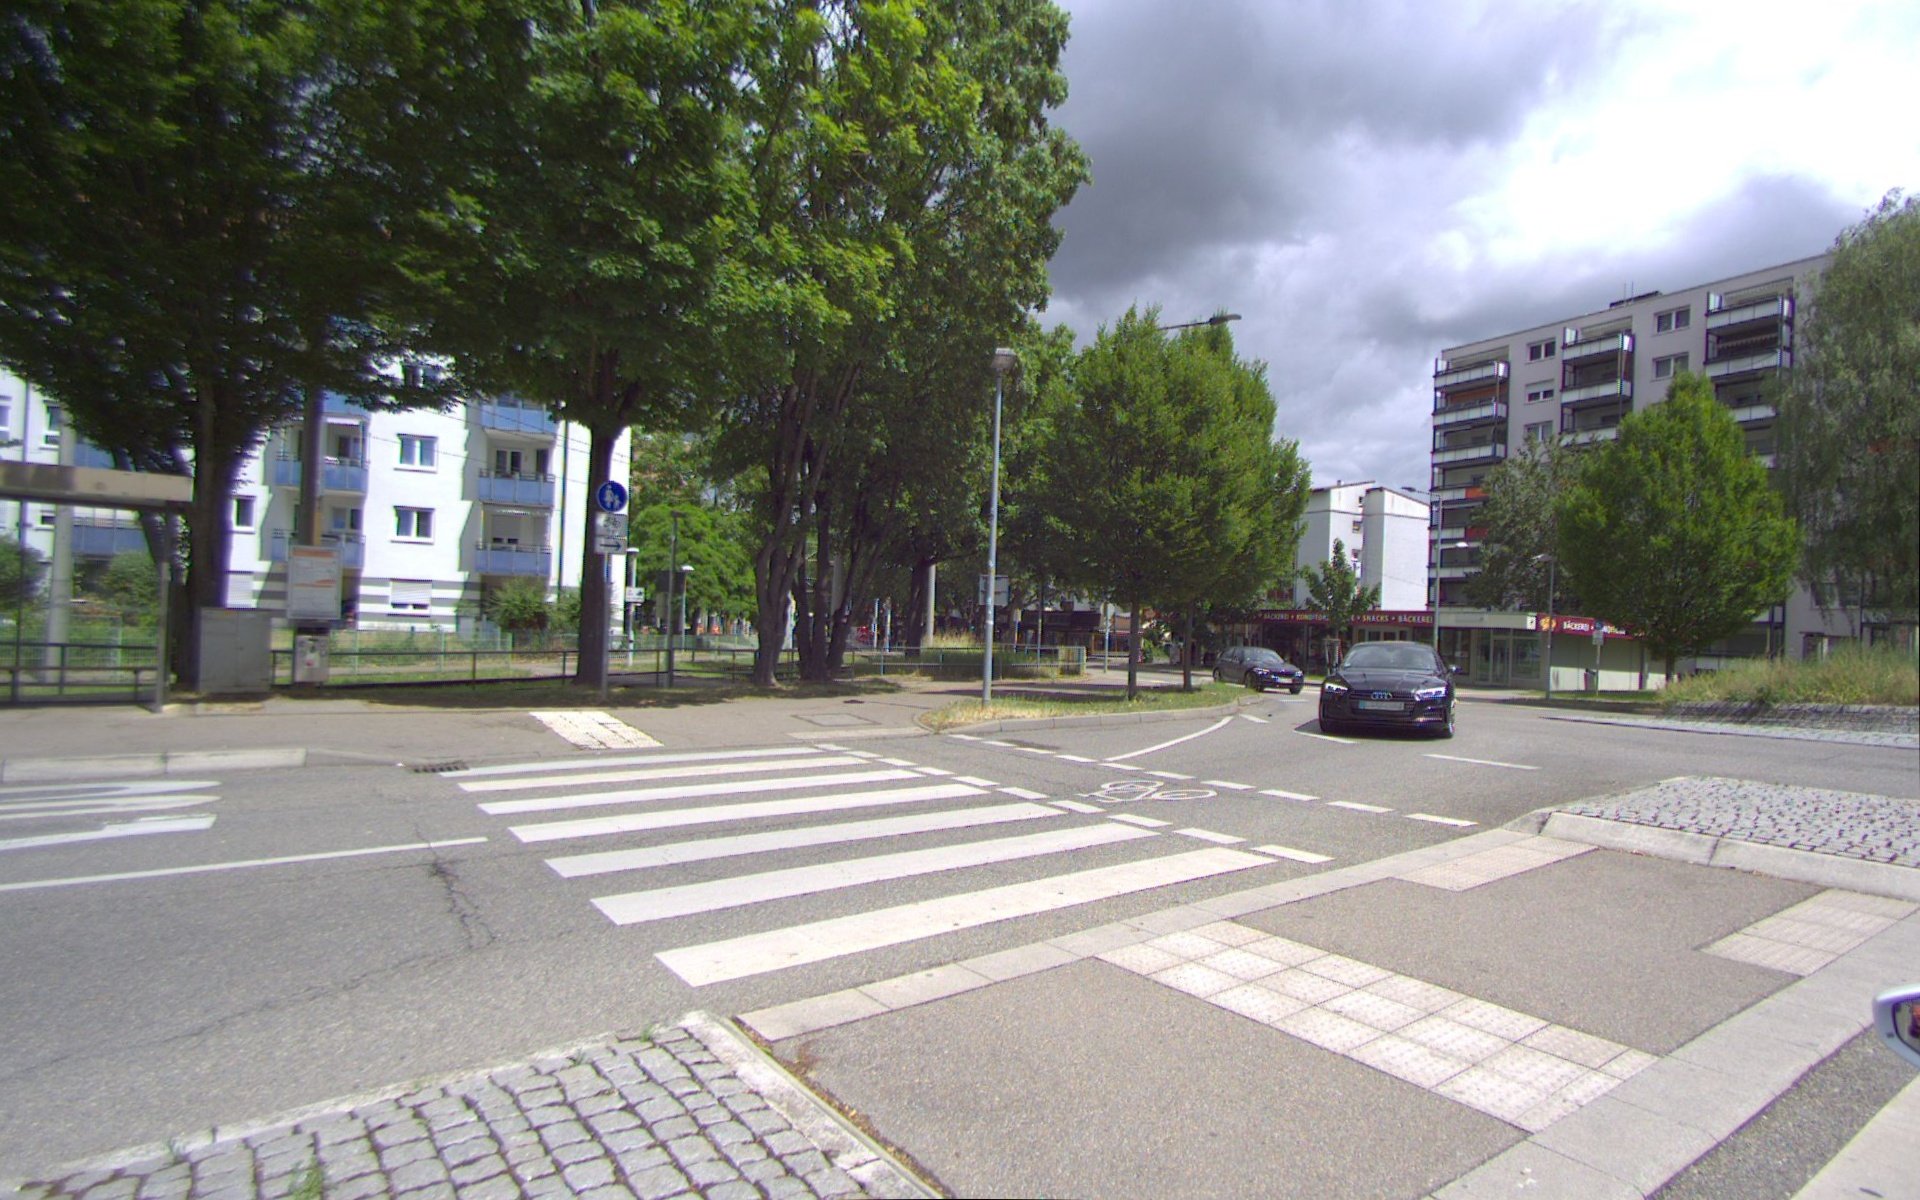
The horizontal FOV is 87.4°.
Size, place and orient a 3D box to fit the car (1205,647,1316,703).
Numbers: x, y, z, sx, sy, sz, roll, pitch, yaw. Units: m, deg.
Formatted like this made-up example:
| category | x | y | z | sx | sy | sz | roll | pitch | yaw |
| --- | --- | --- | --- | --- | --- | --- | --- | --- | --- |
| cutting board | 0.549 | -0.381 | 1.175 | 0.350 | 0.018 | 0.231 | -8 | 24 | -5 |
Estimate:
| category | x | y | z | sx | sy | sz | roll | pitch | yaw |
| --- | --- | --- | --- | --- | --- | --- | --- | --- | --- |
| car | 9.888 | 2.448 | 33.405 | 1.825 | 1.474 | 4.382 | 3 | 0 | -8 |

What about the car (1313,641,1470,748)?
| category | x | y | z | sx | sy | sz | roll | pitch | yaw |
| --- | --- | --- | --- | --- | --- | --- | --- | --- | --- |
| car | 7.078 | 1.417 | 16.186 | 1.791 | 1.402 | 4.610 | 1 | -2 | 30 |

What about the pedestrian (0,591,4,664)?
| category | x | y | z | sx | sy | sz | roll | pitch | yaw |
| --- | --- | --- | --- | --- | --- | --- | --- | --- | --- |
| pedestrian | -10.356 | 0.463 | 10.102 | 0.902 | 1.150 | 0.793 | 3 | -1 | -34 |

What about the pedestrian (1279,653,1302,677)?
| category | x | y | z | sx | sy | sz | roll | pitch | yaw |
| --- | --- | --- | --- | --- | --- | --- | --- | --- | --- |
| pedestrian | 19.104 | 3.750 | 58.100 | 0.870 | 1.342 | 0.816 | 3 | 0 | -28 |

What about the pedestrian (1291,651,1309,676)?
| category | x | y | z | sx | sy | sz | roll | pitch | yaw |
| --- | --- | --- | --- | --- | --- | --- | --- | --- | --- |
| pedestrian | 19.827 | 3.692 | 58.554 | 0.709 | 1.398 | 0.695 | 2 | -2 | -21 |
